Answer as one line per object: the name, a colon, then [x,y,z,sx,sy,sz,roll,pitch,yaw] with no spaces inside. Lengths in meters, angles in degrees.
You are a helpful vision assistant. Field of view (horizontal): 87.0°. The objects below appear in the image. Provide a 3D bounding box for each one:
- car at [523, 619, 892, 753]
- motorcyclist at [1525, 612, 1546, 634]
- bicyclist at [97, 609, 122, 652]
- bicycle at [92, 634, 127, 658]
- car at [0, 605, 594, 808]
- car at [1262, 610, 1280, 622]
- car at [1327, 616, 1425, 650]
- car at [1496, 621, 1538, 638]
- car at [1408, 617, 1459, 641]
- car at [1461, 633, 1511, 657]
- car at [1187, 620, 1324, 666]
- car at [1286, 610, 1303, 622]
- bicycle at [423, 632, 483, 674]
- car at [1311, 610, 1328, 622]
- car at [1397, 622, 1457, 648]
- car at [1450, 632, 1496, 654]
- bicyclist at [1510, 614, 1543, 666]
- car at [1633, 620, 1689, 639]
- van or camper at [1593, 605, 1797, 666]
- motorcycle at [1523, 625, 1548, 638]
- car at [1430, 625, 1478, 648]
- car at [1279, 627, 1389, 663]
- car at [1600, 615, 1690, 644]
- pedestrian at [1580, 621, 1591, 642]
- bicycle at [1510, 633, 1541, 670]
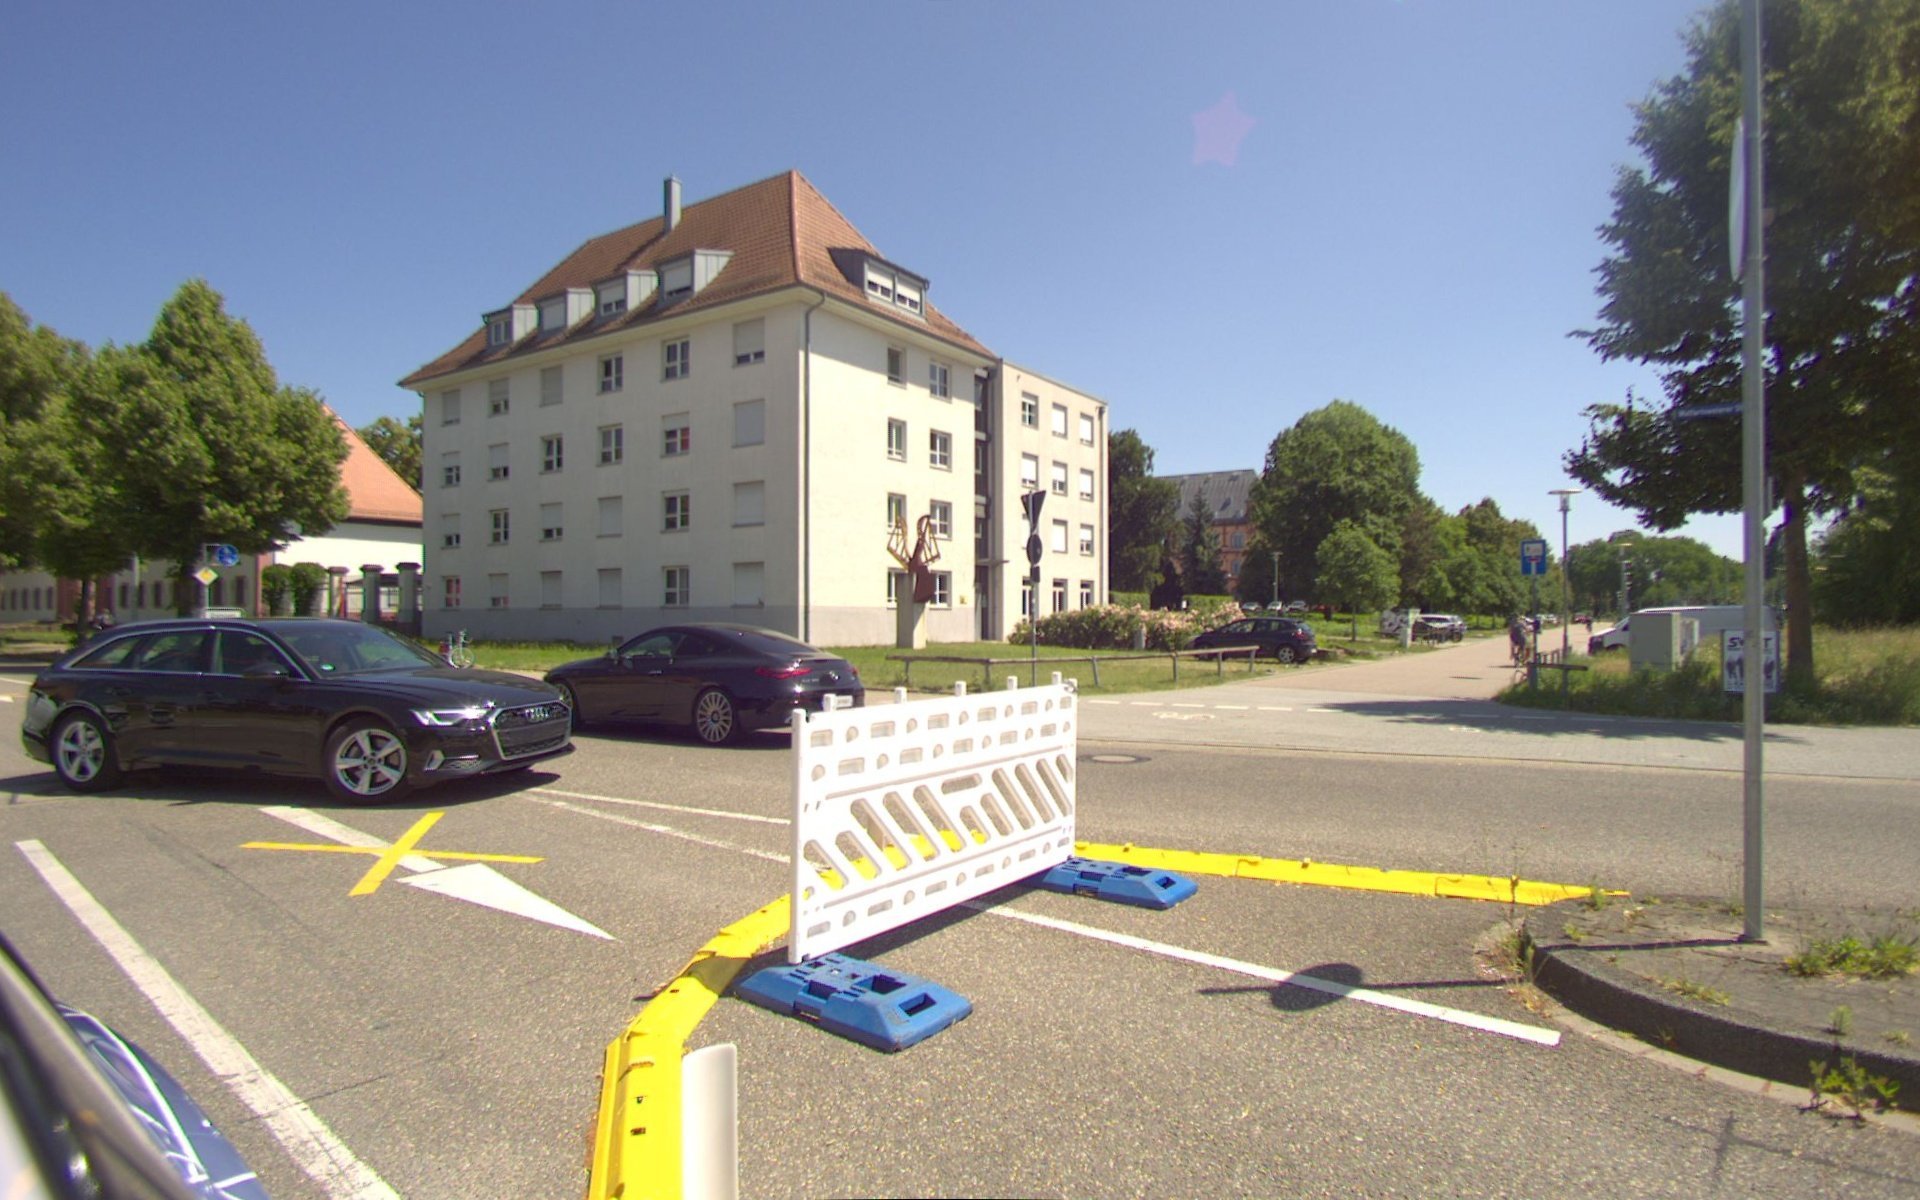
car: [-3.250,0.985,12.725,4.618,1.414,1.802,-1,-3,32]
motorcyclist: [44.360,1.771,78.016,1.252,1.621,1.423,-1,-2,35]
bicyclist: [-32.708,1.175,38.932,0.738,1.623,0.562,-1,-2,35]
bicycle: [-32.710,1.758,38.922,1.904,0.922,0.556,-1,-2,35]
car: [-5.694,0.841,8.747,4.573,1.462,1.793,-1,-2,14]
car: [38.421,1.947,124.982,1.473,1.427,2.997,-1,-1,29]
car: [18.651,1.456,45.435,3.799,1.336,1.640,1,1,35]
car: [66.012,3.506,119.890,3.998,2.029,1.973,-1,-2,41]
car: [27.932,1.711,59.740,2.528,1.368,1.069,-1,-2,41]
car: [39.262,3.330,75.616,3.220,1.718,1.493,-1,-1,31]
car: [9.227,1.316,31.711,3.799,1.337,1.640,-1,-2,35]
car: [40.735,1.916,123.170,1.473,1.427,2.997,-1,-1,29]
bicycle: [-13.619,1.400,27.165,1.984,1.032,0.700,-1,2,41]
car: [43.187,1.871,121.567,1.473,1.427,2.997,-1,-1,29]
car: [25.350,1.896,54.980,2.747,1.367,1.156,-1,-2,41]
car: [33.607,2.798,66.310,2.528,1.368,1.069,-1,-2,41]
bicyclist: [18.253,1.272,32.595,0.714,1.650,0.961,1,0,41]
car: [53.909,2.253,77.862,3.533,1.475,1.530,-1,-2,36]
van or camper: [24.008,1.143,33.337,5.259,1.871,1.977,-1,-1,34]
motorcycle: [44.558,2.421,78.345,1.368,0.929,3.187,-1,-1,35]
car: [30.900,2.270,63.349,2.528,1.368,1.069,-1,-2,41]
car: [13.383,1.585,36.288,3.505,1.227,1.340,-1,-2,35]
car: [32.560,1.391,48.134,3.382,1.291,1.338,-1,-2,42]
pedestrian: [50.547,2.545,81.754,0.670,1.677,1.325,-1,-1,34]
bicycle: [18.246,1.635,32.619,0.550,1.121,1.654,1,0,40]
